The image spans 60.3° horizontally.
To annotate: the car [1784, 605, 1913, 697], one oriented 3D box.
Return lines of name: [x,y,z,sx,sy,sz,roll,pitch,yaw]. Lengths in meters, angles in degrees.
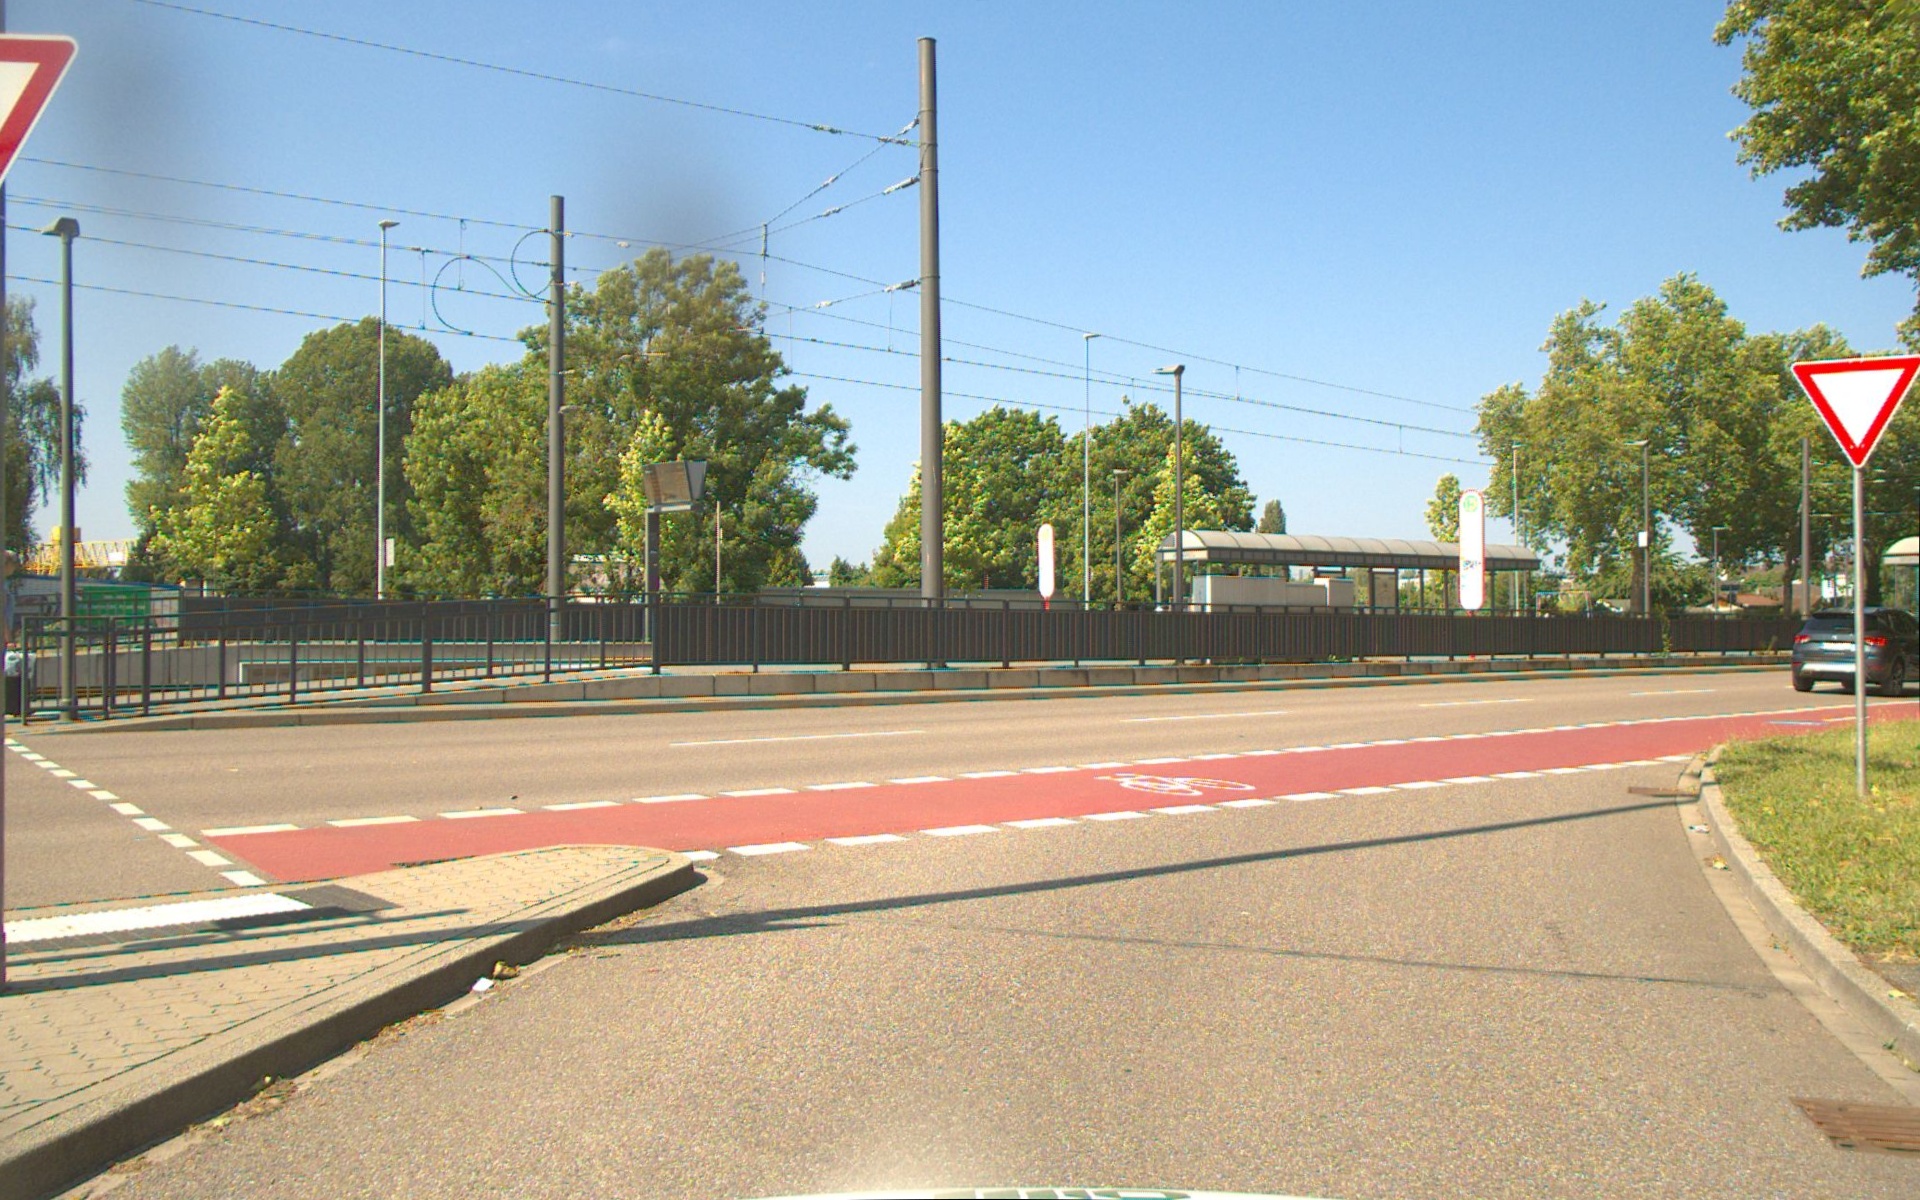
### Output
car: [16.193,0.919,30.075,1.642,1.550,3.363,0,-1,36]

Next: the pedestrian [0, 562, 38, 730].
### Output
pedestrian: [-9.145,0.413,15.566,0.764,1.537,0.998,1,1,-28]
